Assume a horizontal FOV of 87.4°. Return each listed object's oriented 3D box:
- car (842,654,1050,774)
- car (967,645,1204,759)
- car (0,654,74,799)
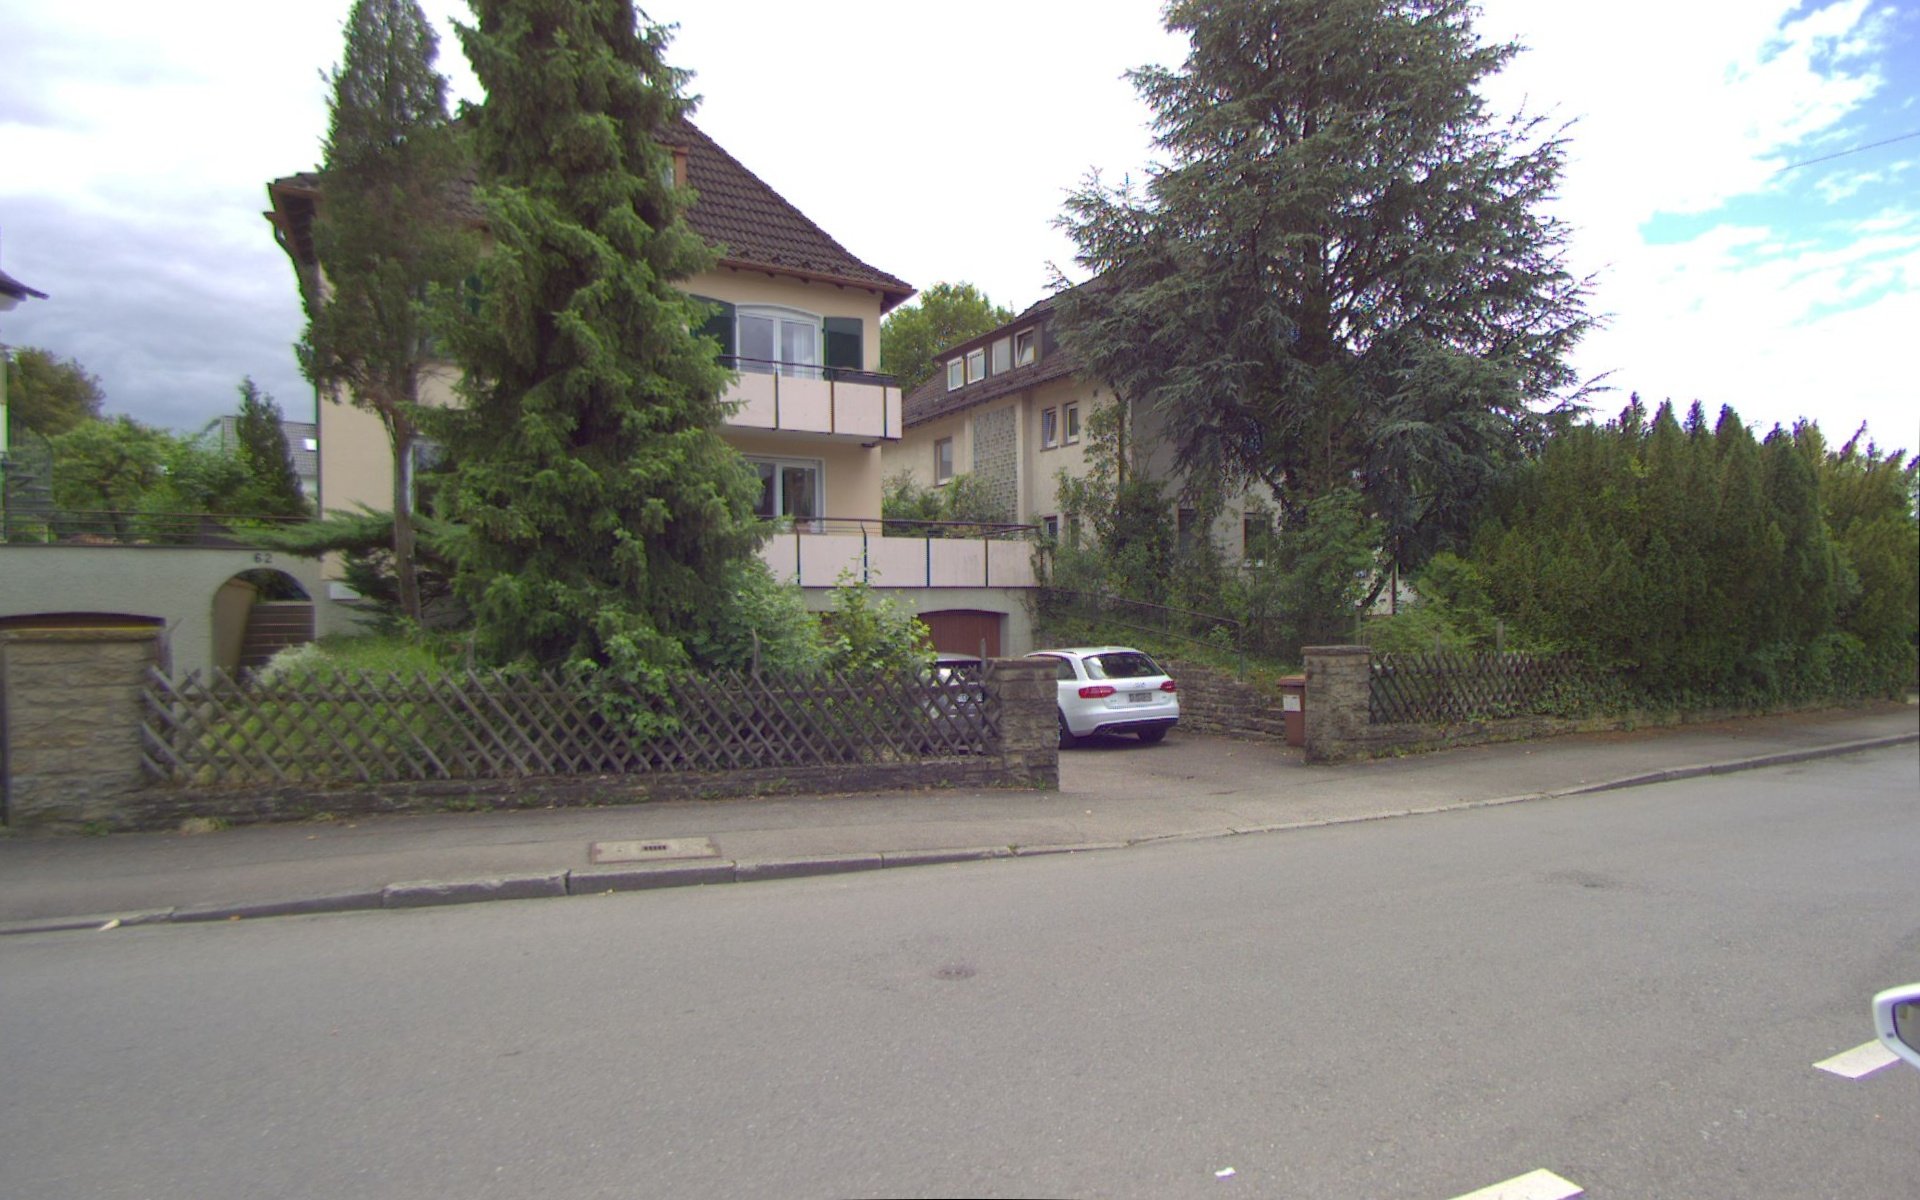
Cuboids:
[{"bbox_3d":[-0.335,1.582,14.722,1.804,1.438,3.545,-1,-3,-23],"label":"car"},{"bbox_3d":[1.774,1.497,15.503,1.894,1.438,3.871,-1,-3,-23],"label":"car"},{"bbox_3d":[-11.206,1.369,10.461,1.801,1.557,3.353,-1,-5,-20],"label":"car"}]
